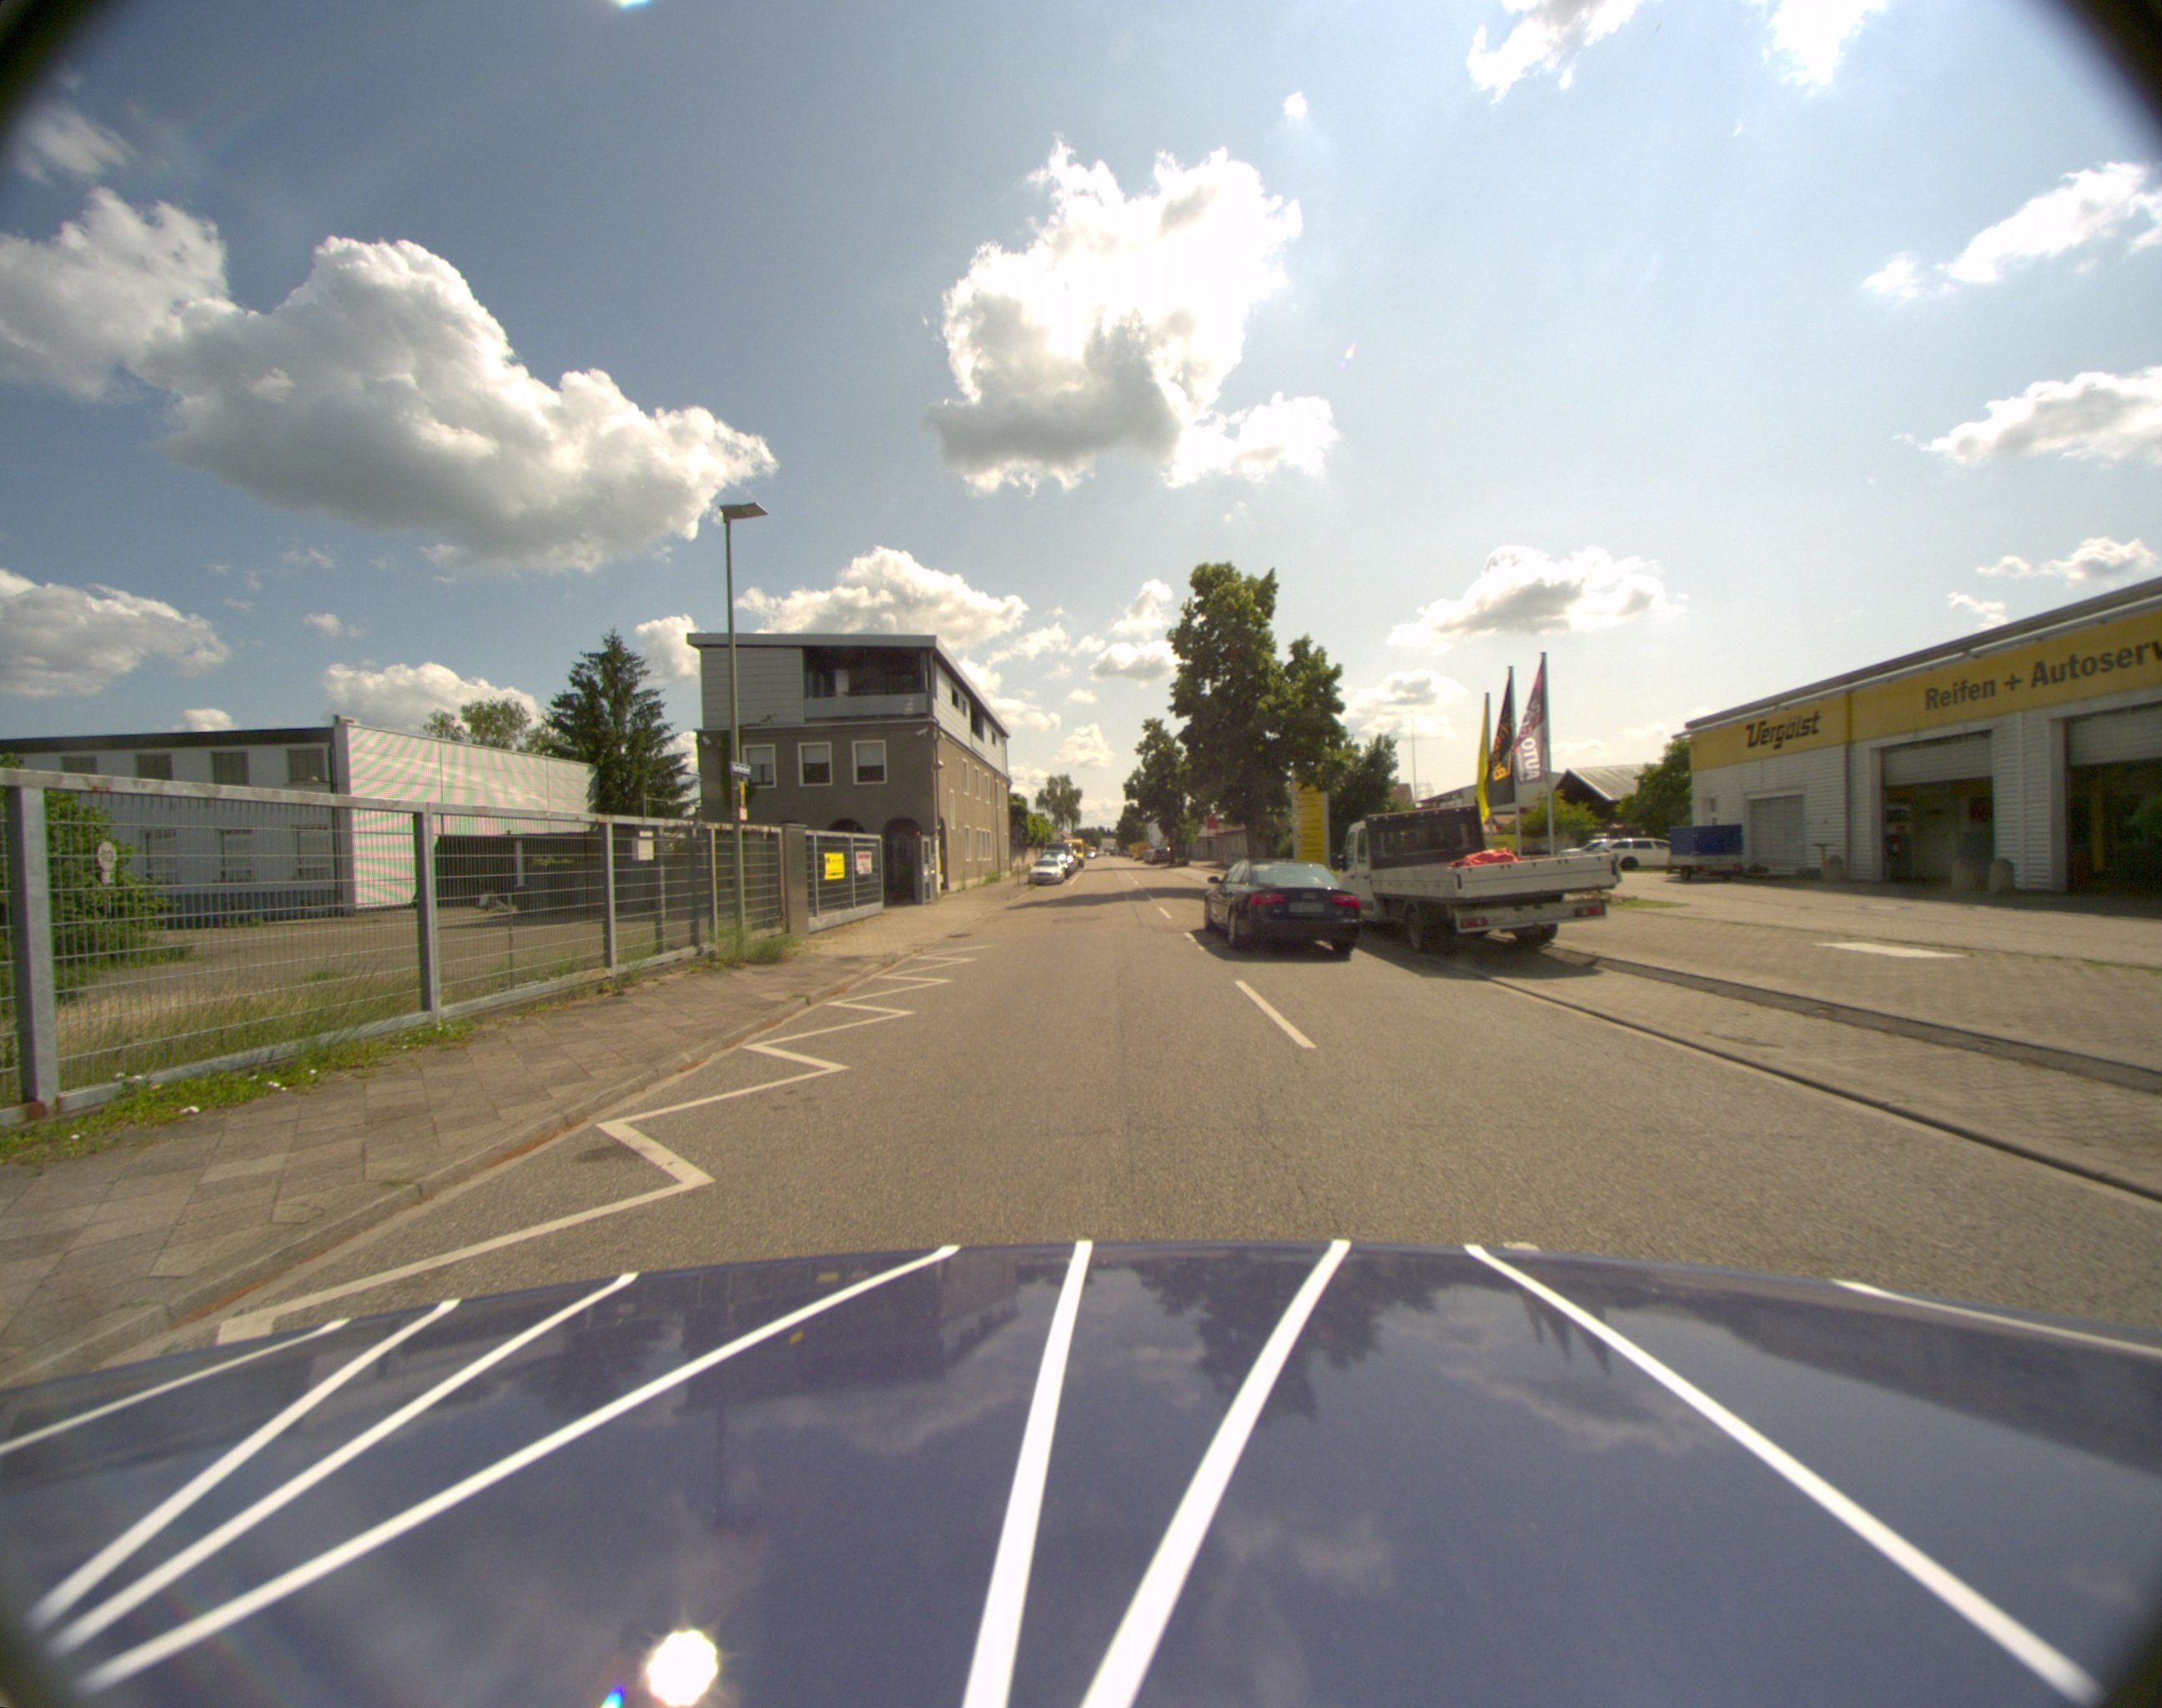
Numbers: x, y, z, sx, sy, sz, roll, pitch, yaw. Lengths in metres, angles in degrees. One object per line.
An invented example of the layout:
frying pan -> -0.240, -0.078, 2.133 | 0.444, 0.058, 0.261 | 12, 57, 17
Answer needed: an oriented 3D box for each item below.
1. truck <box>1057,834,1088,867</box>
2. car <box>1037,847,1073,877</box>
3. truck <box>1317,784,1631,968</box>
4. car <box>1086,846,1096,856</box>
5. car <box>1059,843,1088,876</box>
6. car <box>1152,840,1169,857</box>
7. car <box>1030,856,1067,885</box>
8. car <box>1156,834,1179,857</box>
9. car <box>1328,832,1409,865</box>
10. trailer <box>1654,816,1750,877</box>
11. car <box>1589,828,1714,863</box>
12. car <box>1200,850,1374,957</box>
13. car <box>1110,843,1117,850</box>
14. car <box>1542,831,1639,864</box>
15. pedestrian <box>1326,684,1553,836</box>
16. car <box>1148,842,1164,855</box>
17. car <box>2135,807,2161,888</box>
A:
truck -> -0.743, -0.352, 70.864 | 2.402, 2.788, 6.375 | -2, 1, 3
car -> -1.554, 0.442, 46.878 | 1.998, 1.678, 3.999 | -2, 1, 0
truck -> 6.237, 0.251, 13.549 | 2.133, 2.226, 7.350 | -5, 0, 4
car -> 2.218, -0.733, 165.835 | 1.998, 2.002, 4.000 | -2, 1, 3
car -> -0.531, 0.377, 55.550 | 1.998, 2.290, 4.413 | -2, 1, 0
car -> 8.730, -0.608, 83.539 | 1.654, 1.686, 3.314 | -2, 1, 8
car -> -1.640, 0.829, 39.862 | 1.657, 1.324, 4.000 | -2, 1, 1
car -> 9.021, -0.900, 79.143 | 1.997, 2.290, 4.003 | -2, 1, 11
car -> 16.379, -0.301, 43.450 | 4.092, 1.704, 1.680 | -2, 1, 10
trailer -> 18.968, -0.269, 23.330 | 1.268, 1.682, 2.972 | -3, 1, 18
car -> 26.113, -0.396, 34.926 | 4.275, 1.474, 1.672 | -1, 2, 15
car -> 3.234, 0.687, 12.847 | 1.789, 1.430, 4.309 | 1, 1, 1
car -> 9.951, -2.328, 233.526 | 1.998, 2.002, 4.000 | -2, 1, 3
car -> 27.951, -0.347, 41.795 | 3.995, 1.600, 1.851 | -2, 1, 7
pedestrian -> 5.693, -1.365, 12.710 | 1.998, 2.002, 4.000 | -3, 1, 3
car -> 8.885, -0.630, 90.151 | 1.654, 1.432, 3.314 | -2, 1, 8
car -> 20.694, -0.173, 12.518 | 3.577, 1.428, 1.792 | -2, 1, 14
